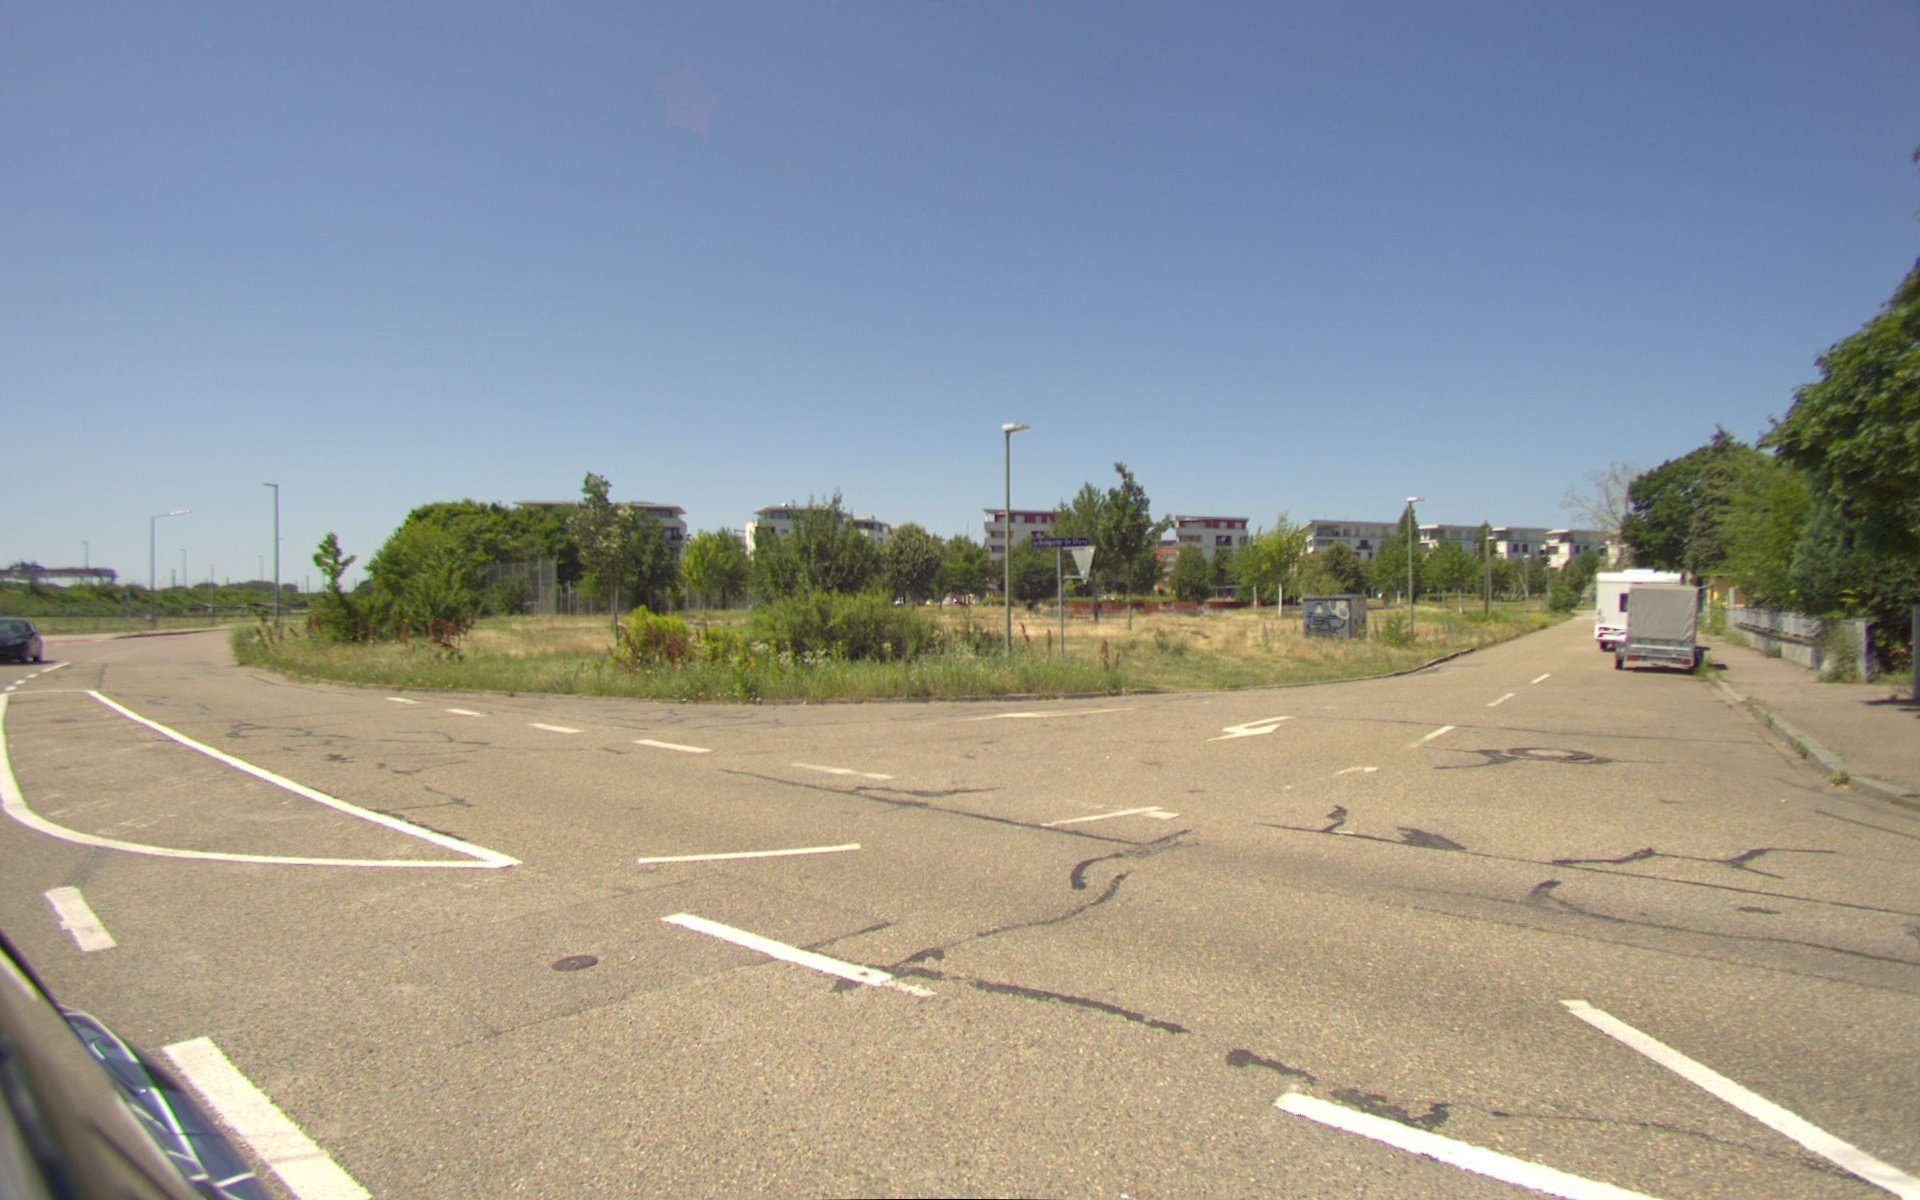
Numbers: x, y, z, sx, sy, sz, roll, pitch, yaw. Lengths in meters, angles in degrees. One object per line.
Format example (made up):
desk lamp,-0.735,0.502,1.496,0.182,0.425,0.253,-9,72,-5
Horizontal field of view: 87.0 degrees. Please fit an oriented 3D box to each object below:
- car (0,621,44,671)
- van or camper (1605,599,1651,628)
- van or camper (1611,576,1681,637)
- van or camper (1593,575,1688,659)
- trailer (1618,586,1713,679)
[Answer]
car,-30.335,1.422,31.842,1.627,1.478,4.170,0,-1,-34
van or camper,45.319,0.896,68.752,2.350,1.894,5.005,-1,-1,32
van or camper,31.577,0.336,46.683,2.465,2.613,5.901,-1,-1,34
van or camper,23.010,0.495,34.217,2.487,2.610,4.414,-1,1,35
trailer,17.033,0.753,24.477,1.756,2.061,3.384,-1,-1,35
